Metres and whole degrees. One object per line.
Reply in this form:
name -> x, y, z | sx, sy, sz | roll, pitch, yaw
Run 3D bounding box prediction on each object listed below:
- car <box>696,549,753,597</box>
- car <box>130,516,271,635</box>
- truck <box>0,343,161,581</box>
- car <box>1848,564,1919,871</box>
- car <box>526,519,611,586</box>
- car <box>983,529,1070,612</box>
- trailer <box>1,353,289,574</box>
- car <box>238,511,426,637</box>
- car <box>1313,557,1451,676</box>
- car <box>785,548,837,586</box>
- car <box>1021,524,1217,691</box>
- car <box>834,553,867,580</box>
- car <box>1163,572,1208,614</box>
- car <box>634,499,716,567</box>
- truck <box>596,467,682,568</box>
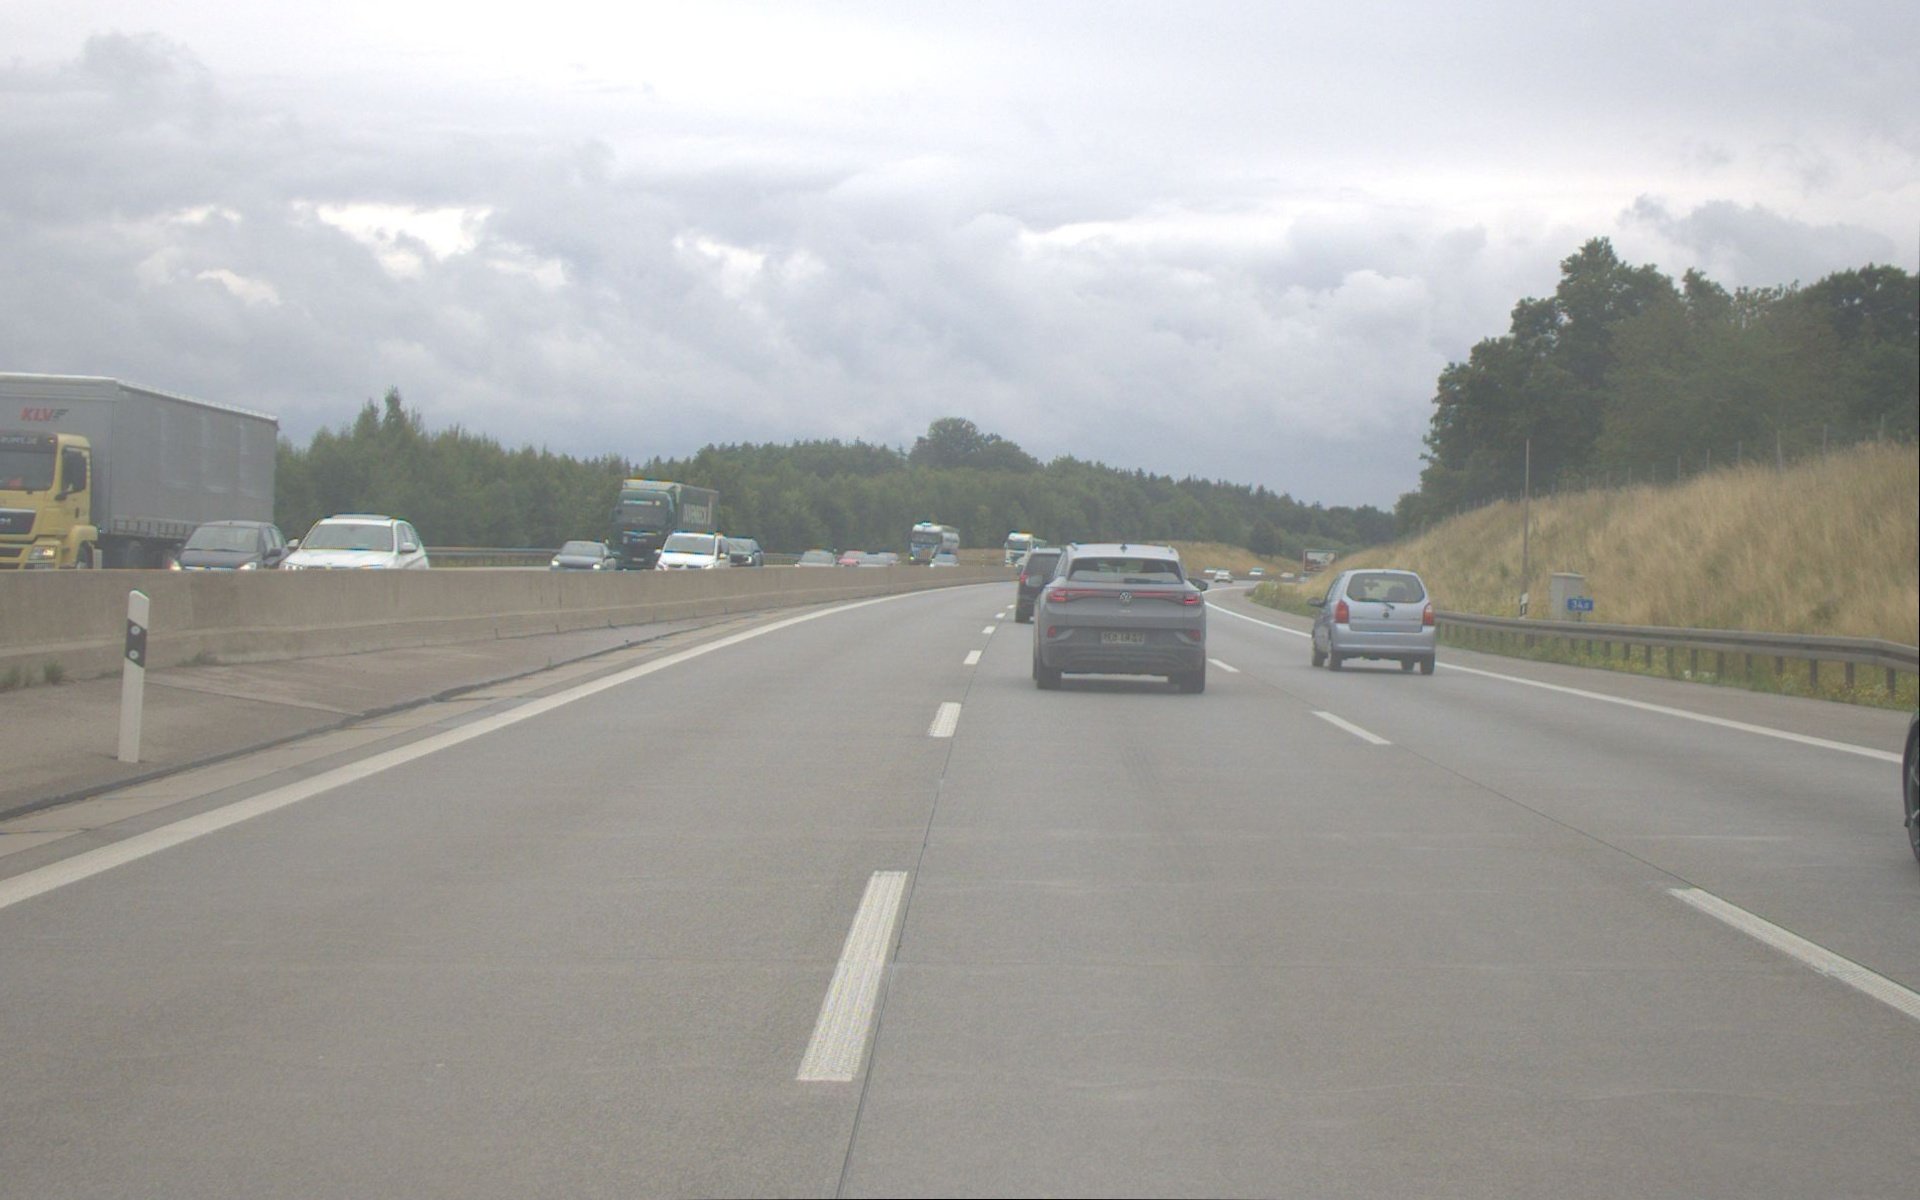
car -> -10.435, -1.228, 152.820 | 1.993, 1.967, 5.331 | 1, 2, 2
car -> -13.519, -0.469, 61.370 | 1.645, 2.006, 4.001 | 1, 2, 0
truck -> -16.874, -2.529, 63.279 | 2.931, 4.165, 5.858 | 1, 2, 0
car -> 5.618, 0.624, 15.470 | 2.014, 1.441, 4.745 | 1, 2, 0
car -> -12.445, -1.541, 109.516 | 1.914, 2.006, 5.924 | 1, 2, 1
car -> 1.495, -0.679, 76.383 | 1.785, 1.741, 3.915 | 1, 2, 3
trailer -> -16.748, -2.805, 71.699 | 2.918, 4.203, 11.873 | 1, 2, 1
car -> -9.744, -0.443, 53.665 | 2.034, 1.861, 4.604 | 1, 1, 1
car -> 5.940, 0.202, 48.717 | 1.485, 1.465, 3.505 | 3, 2, 1
car -> -6.441, -1.427, 148.913 | 1.993, 1.514, 4.398 | 1, 2, 0
car -> 1.720, 0.021, 38.827 | 1.898, 1.684, 5.267 | 1, 2, -1
car -> -6.736, -2.047, 212.087 | 1.718, 1.503, 4.486 | 2, 0, 2
car -> 8.885, -0.272, 135.650 | 1.485, 1.465, 3.505 | 3, 2, 1
car -> -8.824, -2.111, 106.824 | 1.914, 2.006, 5.924 | 1, 2, 1
truck -> -14.436, -3.735, 155.053 | 2.789, 4.248, 6.049 | 4, 2, 2
